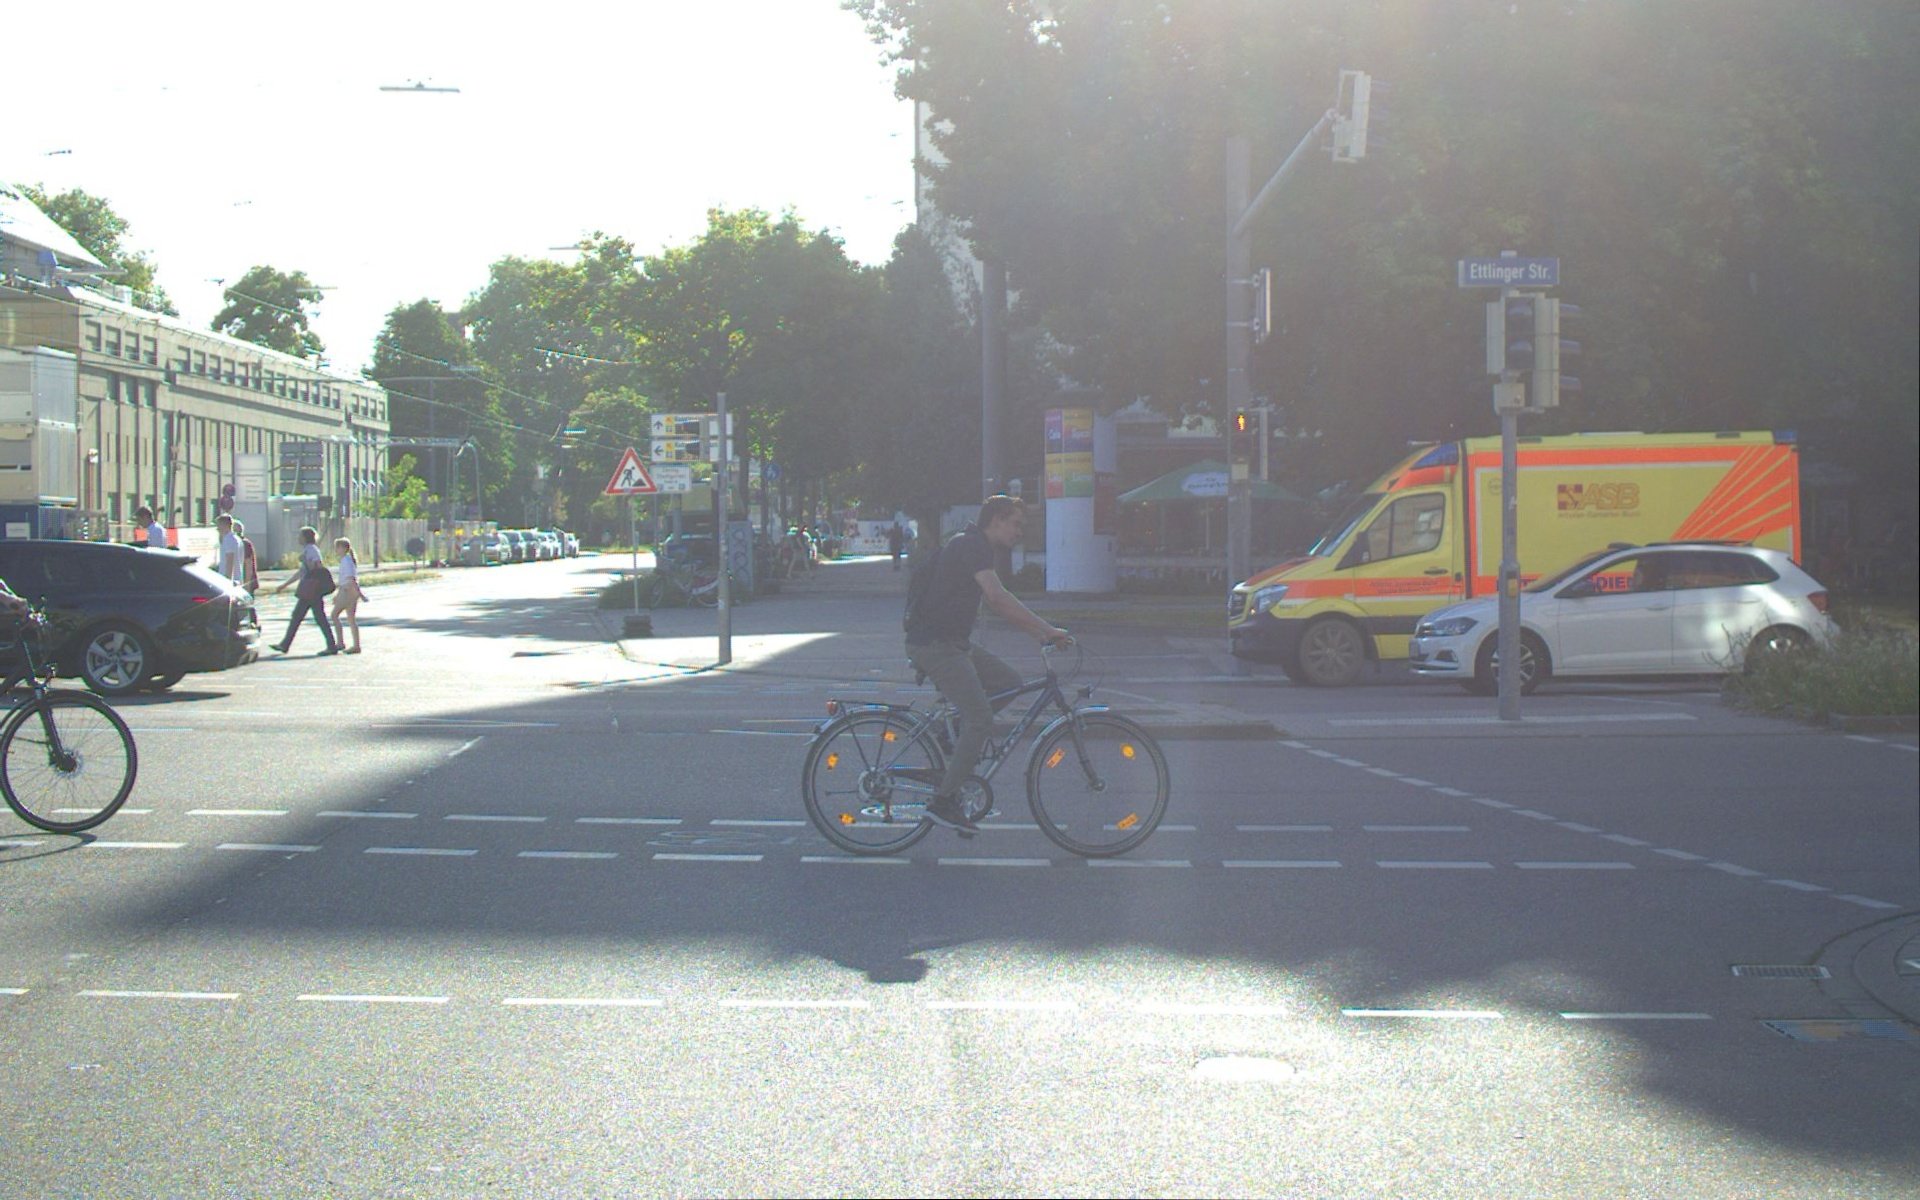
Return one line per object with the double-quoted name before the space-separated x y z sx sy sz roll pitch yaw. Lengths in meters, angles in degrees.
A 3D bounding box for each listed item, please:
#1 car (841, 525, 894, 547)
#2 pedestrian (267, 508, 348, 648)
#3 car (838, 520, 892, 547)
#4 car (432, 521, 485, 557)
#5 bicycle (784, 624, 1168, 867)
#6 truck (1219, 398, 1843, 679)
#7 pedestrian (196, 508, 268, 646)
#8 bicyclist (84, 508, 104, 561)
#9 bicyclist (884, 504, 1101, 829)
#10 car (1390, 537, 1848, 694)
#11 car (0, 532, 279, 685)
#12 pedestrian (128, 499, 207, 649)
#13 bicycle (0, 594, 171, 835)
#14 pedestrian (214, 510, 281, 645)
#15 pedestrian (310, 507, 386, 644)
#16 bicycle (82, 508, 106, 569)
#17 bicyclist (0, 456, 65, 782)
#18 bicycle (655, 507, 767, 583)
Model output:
"car" -5.698 -3.924 211.197 3.217 1.259 1.373 1 0 -3
"pedestrian" -8.493 -0.287 44.745 0.870 1.797 0.664 0 1 5
"car" -5.904 -4.125 213.434 3.214 1.583 1.446 1 0 -4
"car" -22.791 -2.788 156.392 1.894 1.601 4.501 -1 1 -2
"bicycle" 0.092 0.692 16.681 1.813 1.081 0.766 1 3 3
"truck" 6.261 -0.690 38.377 6.467 3.005 2.725 0 1 -1
"pedestrian" -9.619 -0.306 45.439 0.739 1.797 0.716 0 1 5
"bicyclist" -32.821 -2.481 130.343 0.571 2.017 0.762 0 1 -2
"bicyclist" 0.168 0.304 16.657 1.002 1.507 0.766 1 3 3
"car" 6.286 0.129 33.030 4.042 1.429 1.632 -1 1 -2
"car" -9.050 0.090 32.824 4.735 1.410 2.000 0 -1 -2
"pedestrian" -10.154 -0.334 44.057 0.802 1.911 0.637 0 1 5
"bicycle" -4.967 0.554 17.151 1.873 1.154 0.766 0 1 3
"pedestrian" -9.580 -0.309 46.228 0.739 1.797 0.532 0 1 5
"pedestrian" -8.095 -0.320 45.513 0.870 1.797 0.532 0 1 5
"bicycle" -32.831 -2.340 130.376 0.571 2.288 1.422 0 1 -2
"bicyclist" -5.143 0.082 17.177 1.124 1.589 0.766 0 1 3
"bicycle" -5.897 -1.300 81.478 2.547 1.737 1.037 1 0 0
